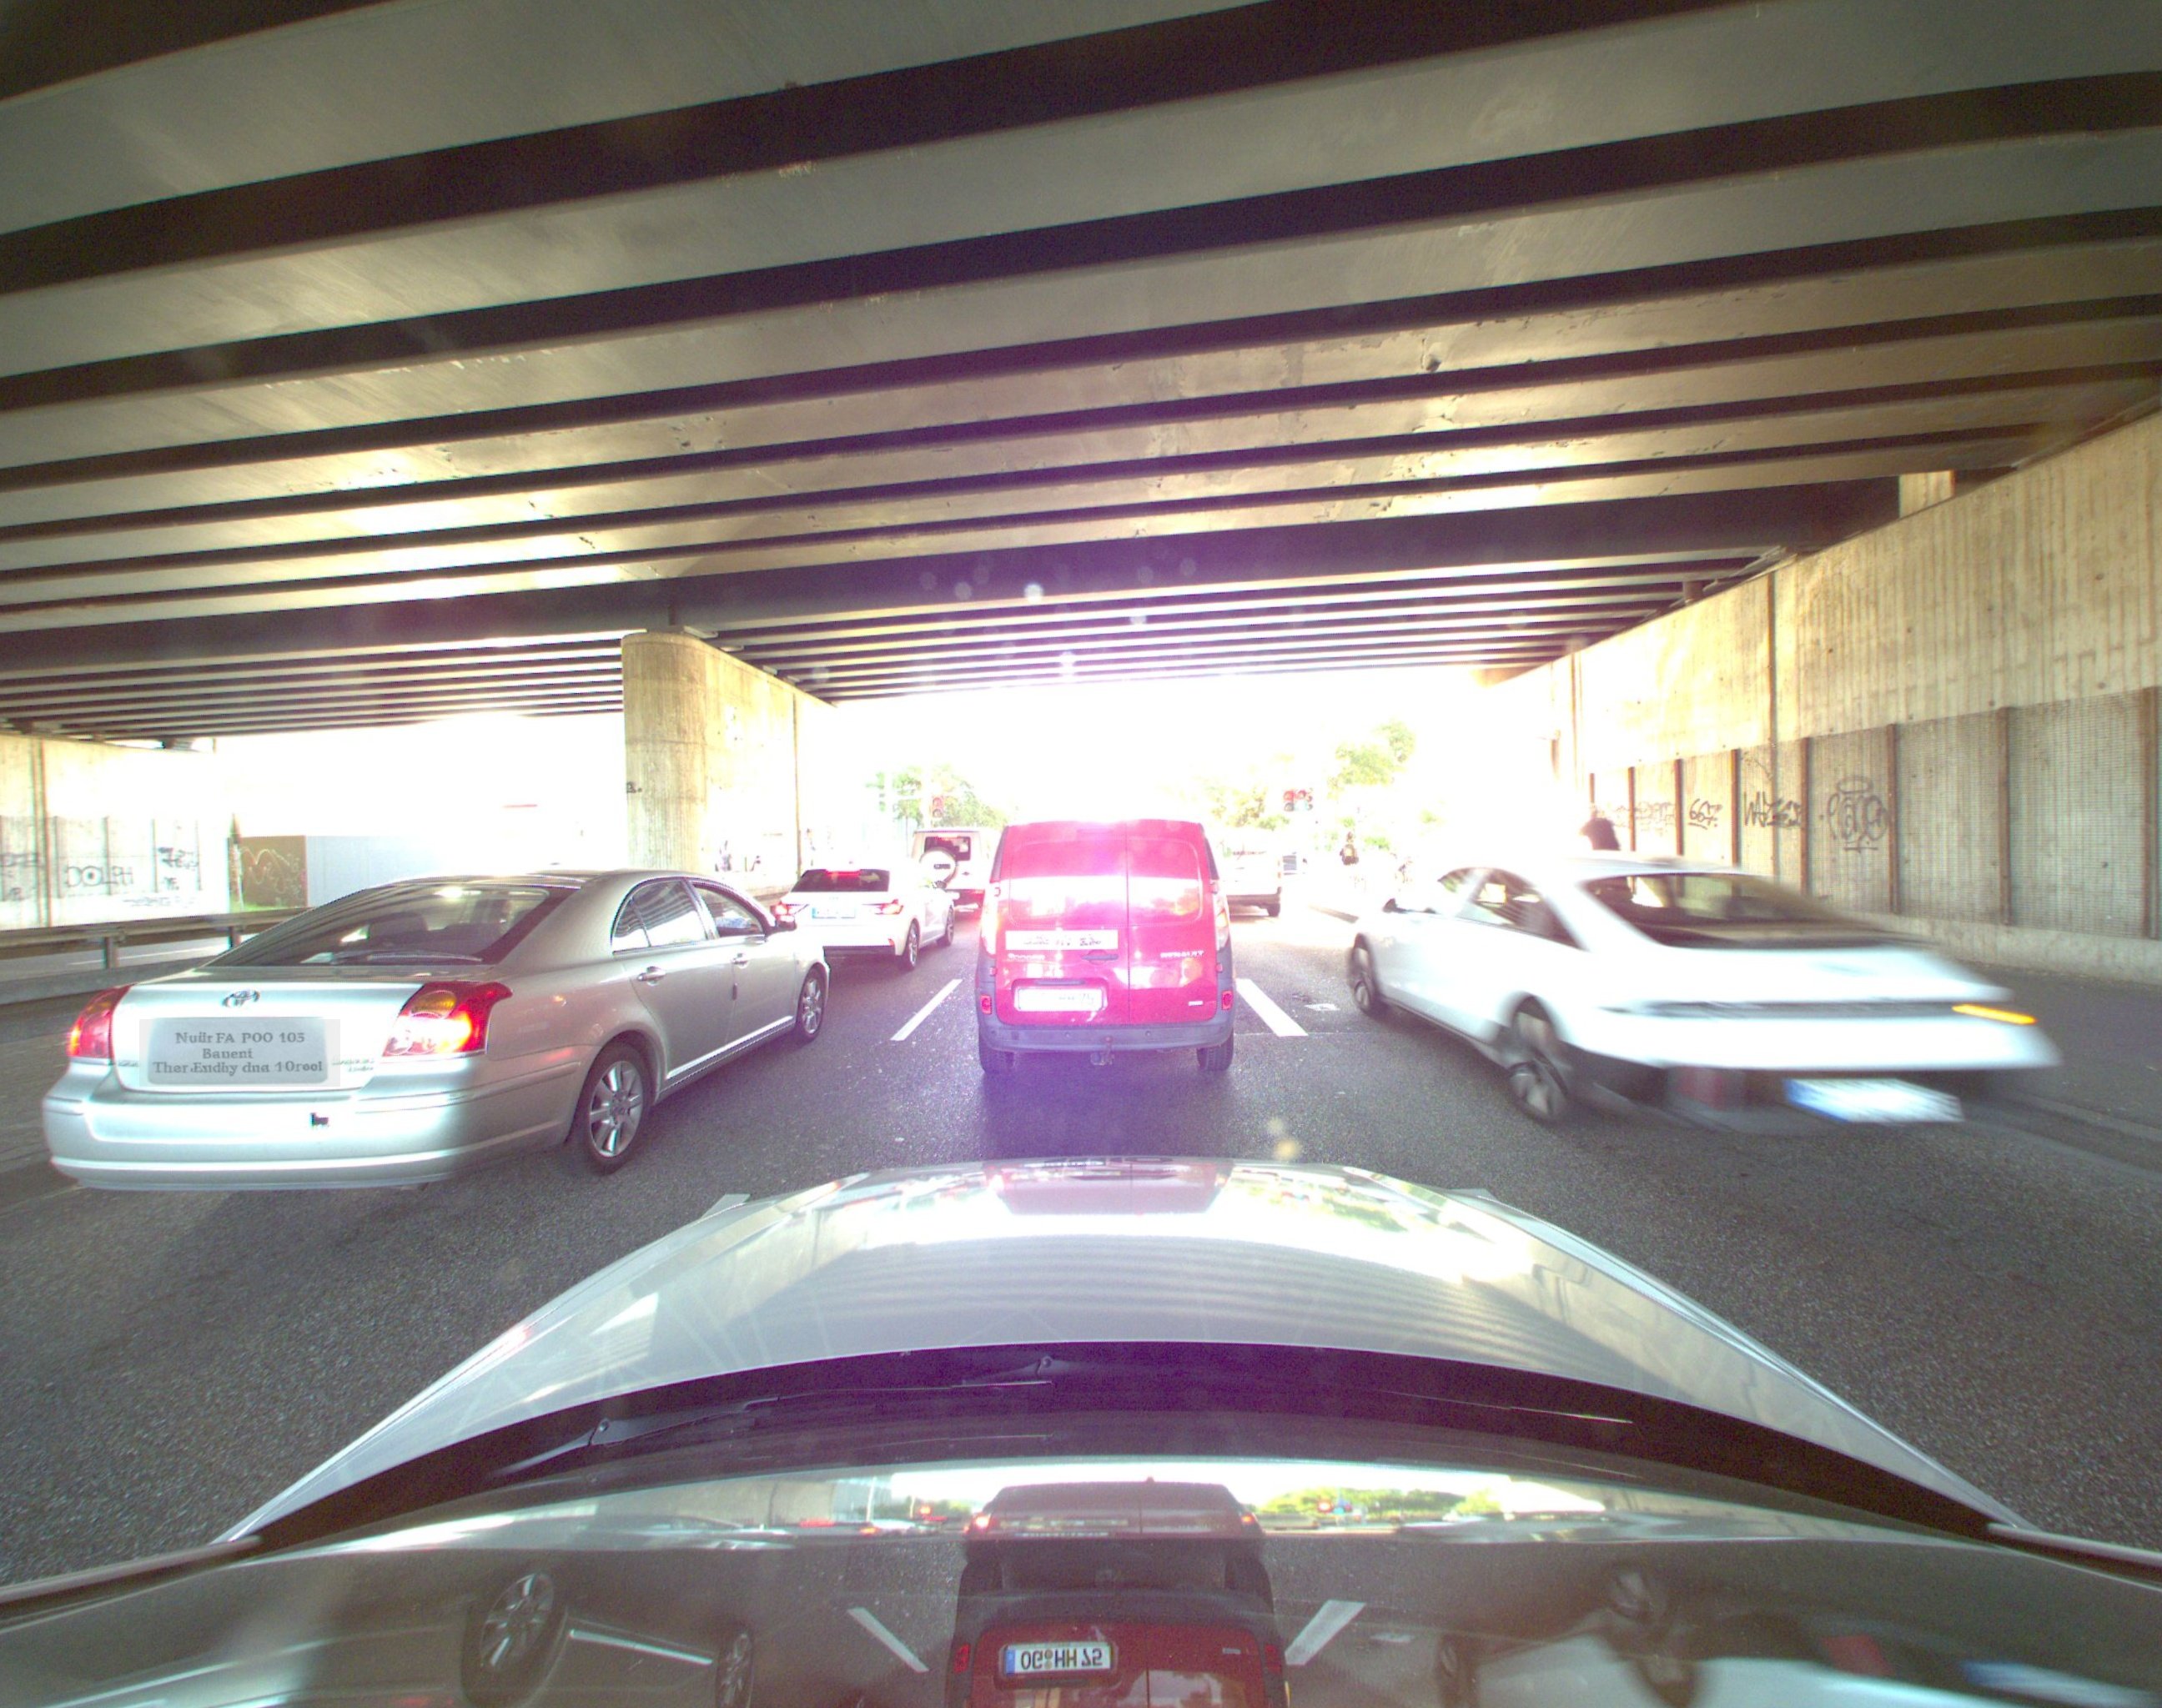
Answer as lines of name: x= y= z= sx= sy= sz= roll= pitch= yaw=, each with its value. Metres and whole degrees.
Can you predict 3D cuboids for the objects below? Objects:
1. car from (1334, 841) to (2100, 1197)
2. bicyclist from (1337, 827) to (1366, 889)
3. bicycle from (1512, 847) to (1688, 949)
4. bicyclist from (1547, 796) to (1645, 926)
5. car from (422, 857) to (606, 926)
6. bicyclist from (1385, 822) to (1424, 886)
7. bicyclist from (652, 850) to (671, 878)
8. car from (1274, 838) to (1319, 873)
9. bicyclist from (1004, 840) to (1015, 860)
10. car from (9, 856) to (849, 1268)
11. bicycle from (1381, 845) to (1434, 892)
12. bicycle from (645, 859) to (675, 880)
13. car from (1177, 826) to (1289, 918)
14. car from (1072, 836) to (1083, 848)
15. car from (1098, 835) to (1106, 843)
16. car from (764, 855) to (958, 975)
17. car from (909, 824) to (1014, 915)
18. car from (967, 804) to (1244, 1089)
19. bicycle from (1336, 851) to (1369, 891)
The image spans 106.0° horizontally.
car: x=3.365 y=0.675 z=5.705 sx=1.740 sy=1.456 sz=4.664 roll=0 pitch=0 yaw=0
bicyclist: x=7.207 y=0.110 z=21.696 sx=0.673 sy=1.629 sz=0.646 roll=0 pitch=-1 yaw=12
bicycle: x=6.821 y=0.513 z=10.908 sx=0.762 sy=1.146 sz=2.470 roll=-4 pitch=1 yaw=1
bicyclist: x=6.785 y=0.091 z=10.773 sx=0.744 sy=1.655 sz=0.886 roll=0 pitch=-1 yaw=1
car: x=-15.191 y=0.923 z=22.174 sx=1.845 sy=1.616 sz=4.365 roll=-2 pitch=0 yaw=1
bicyclist: x=8.153 y=0.002 z=20.542 sx=0.667 sy=1.561 sz=0.735 roll=-2 pitch=-1 yaw=2
bicyclist: x=-23.221 y=0.556 z=45.088 sx=0.625 sy=1.525 sz=0.837 roll=0 pitch=-1 yaw=1
car: x=9.566 y=0.059 z=36.253 sx=1.824 sy=1.464 sz=3.903 roll=0 pitch=0 yaw=14
bicyclist: x=-5.696 y=-0.340 z=64.733 sx=0.752 sy=1.542 sz=0.697 roll=-1 pitch=0 yaw=2
car: x=-2.992 y=0.760 z=5.148 sx=1.690 sy=1.455 sz=4.399 roll=0 pitch=0 yaw=1
bicycle: x=8.157 y=0.345 z=20.413 sx=0.678 sy=1.113 sz=1.604 roll=-2 pitch=0 yaw=1
bicycle: x=-23.224 y=0.847 z=44.994 sx=0.631 sy=1.165 sz=1.878 roll=0 pitch=0 yaw=2
car: x=3.312 y=0.335 z=18.546 sx=1.807 sy=1.833 sz=4.301 roll=0 pitch=1 yaw=1
car: x=-0.605 y=-2.216 z=148.774 sx=1.986 sy=2.014 sz=4.001 roll=0 pitch=0 yaw=2
car: x=5.657 y=-4.043 z=220.667 sx=1.986 sy=2.014 sz=4.001 roll=0 pitch=0 yaw=2
car: x=-2.924 y=0.732 z=11.649 sx=1.687 sy=1.410 sz=3.813 roll=0 pitch=0 yaw=0
car: x=-2.682 y=0.324 z=19.060 sx=1.807 sy=1.904 sz=3.814 roll=0 pitch=0 yaw=1
car: x=0.216 y=0.571 z=7.074 sx=1.712 sy=1.764 sz=4.002 roll=0 pitch=0 yaw=2
bicycle: x=7.188 y=0.428 z=21.601 sx=0.672 sy=1.024 sz=1.534 roll=0 pitch=0 yaw=12
